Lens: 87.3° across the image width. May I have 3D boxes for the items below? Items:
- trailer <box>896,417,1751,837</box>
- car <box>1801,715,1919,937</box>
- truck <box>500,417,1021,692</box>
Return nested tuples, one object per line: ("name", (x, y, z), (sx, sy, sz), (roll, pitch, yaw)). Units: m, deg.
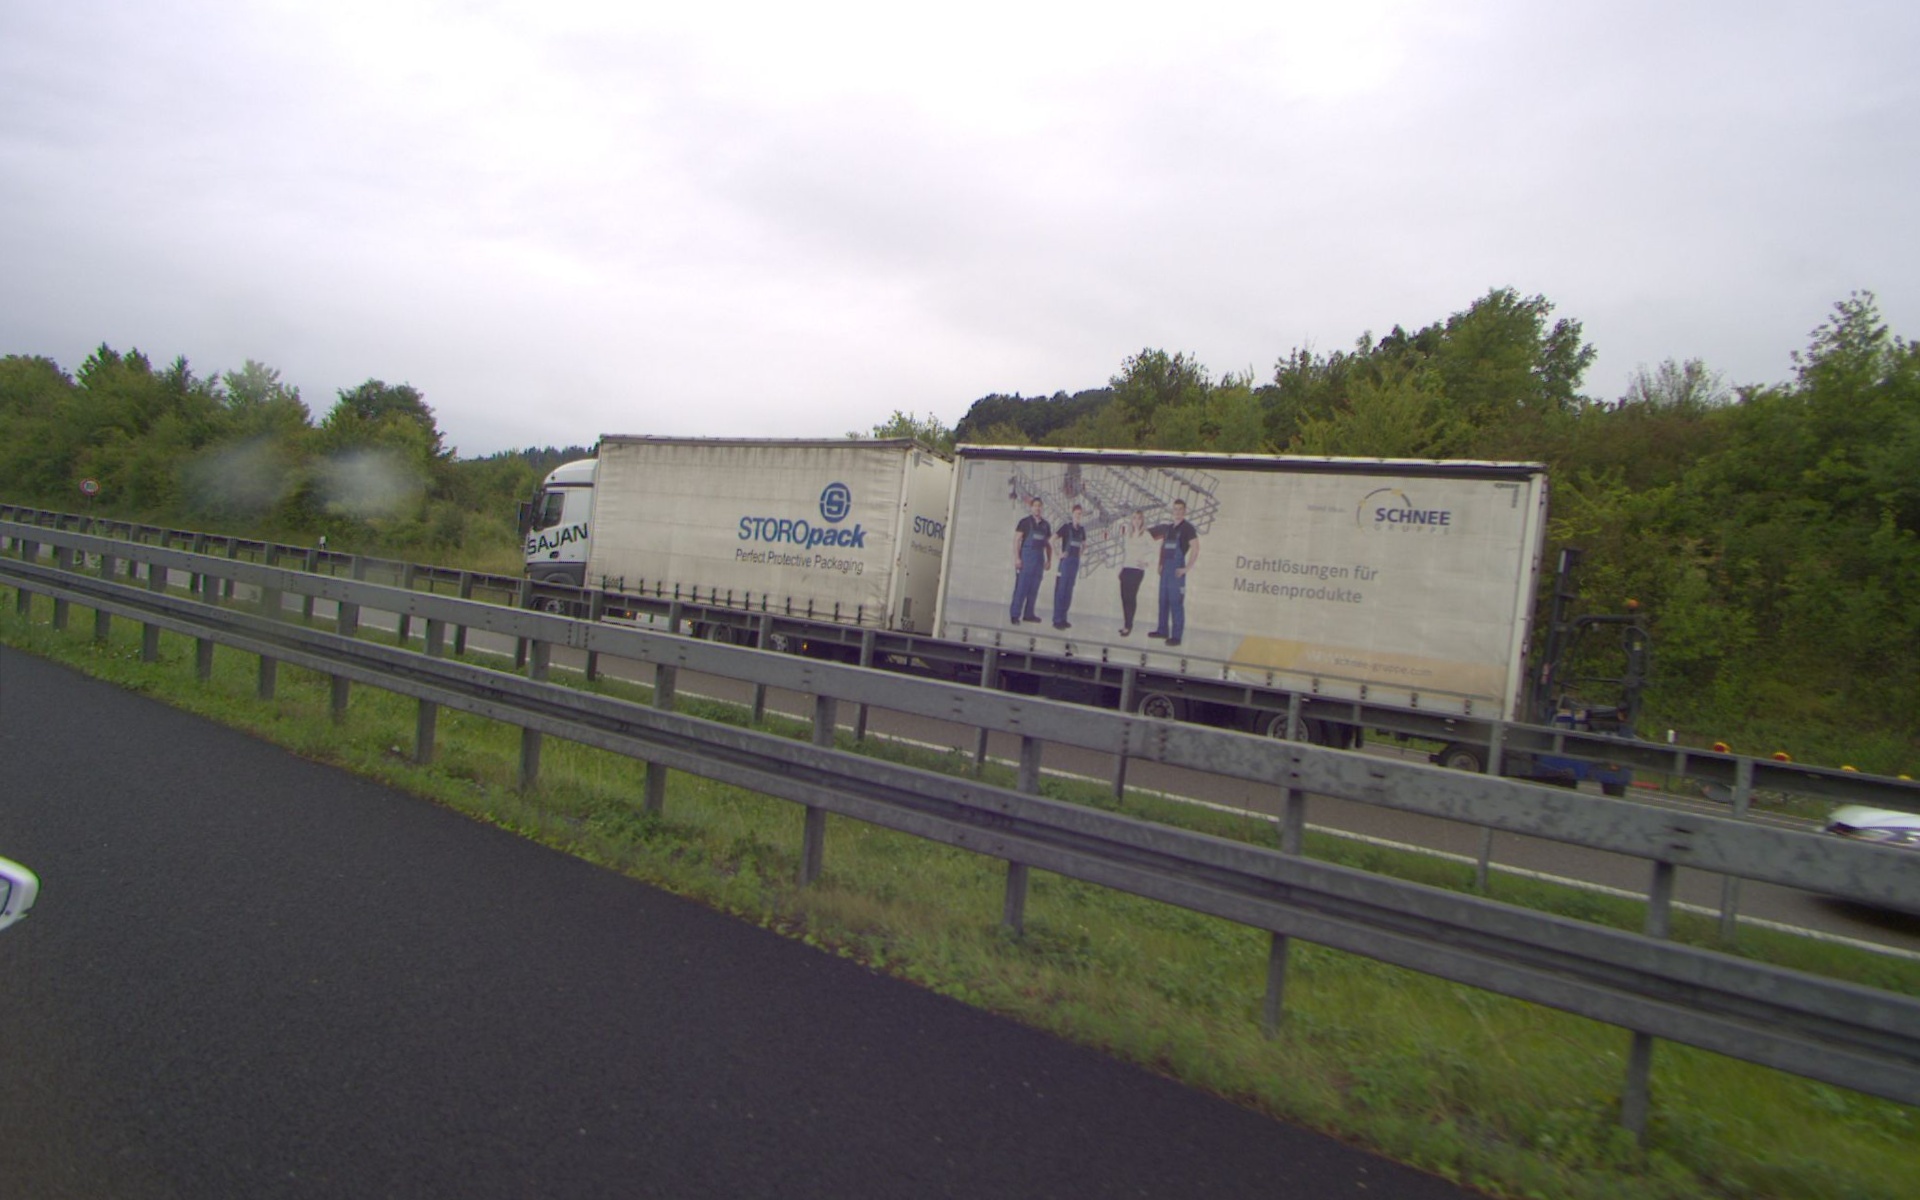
("trailer", (4.464, -0.069, 14.607), (10.281, 4.341, 3.442), (7, 0, 32))
("car", (8.644, 1.845, 6.859), (4.088, 1.465, 1.863), (6, -1, 31))
("truck", (-4.316, -1.079, 20.122), (10.245, 4.341, 3.442), (7, 0, 32))
